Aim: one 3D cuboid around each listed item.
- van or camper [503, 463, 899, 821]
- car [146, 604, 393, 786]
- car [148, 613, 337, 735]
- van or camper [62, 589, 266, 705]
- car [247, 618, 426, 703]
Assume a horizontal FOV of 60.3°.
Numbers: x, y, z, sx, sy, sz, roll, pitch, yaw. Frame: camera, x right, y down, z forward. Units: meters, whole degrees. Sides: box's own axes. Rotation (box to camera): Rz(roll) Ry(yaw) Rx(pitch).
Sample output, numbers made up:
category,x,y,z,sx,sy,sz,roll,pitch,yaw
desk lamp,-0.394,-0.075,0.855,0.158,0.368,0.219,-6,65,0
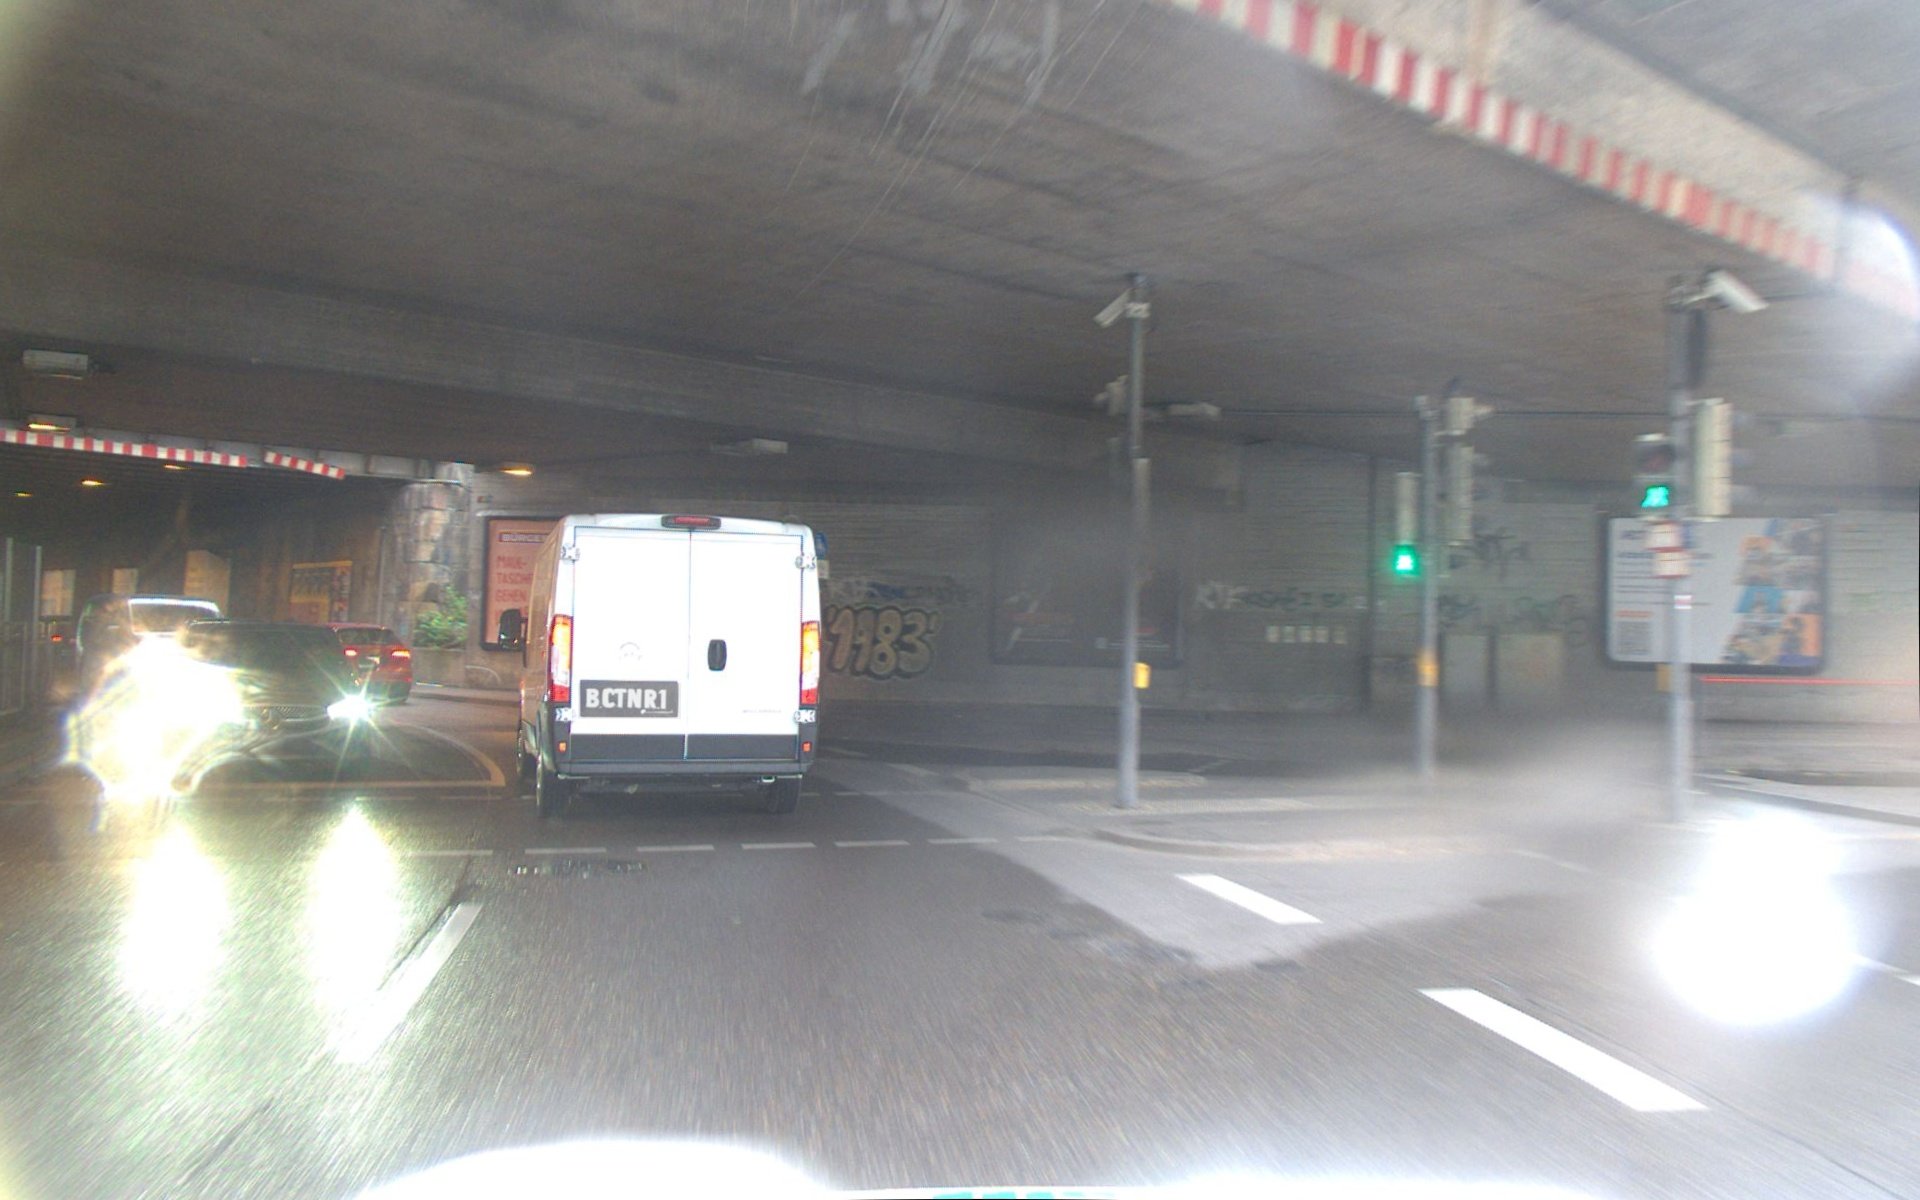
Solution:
category,x,y,z,sx,sy,sz,roll,pitch,yaw
van or camper,-2.433,0.398,14.114,2.656,2.459,4.878,1,-3,-17
car,-6.849,0.856,16.593,1.966,1.557,4.470,1,-1,-22
car,-9.808,0.944,22.436,1.972,1.490,4.065,1,-1,-29
van or camper,-14.311,0.817,29.581,1.983,1.901,5.060,1,-2,-42
car,-11.712,1.087,30.953,1.826,1.464,4.041,2,-1,-41
